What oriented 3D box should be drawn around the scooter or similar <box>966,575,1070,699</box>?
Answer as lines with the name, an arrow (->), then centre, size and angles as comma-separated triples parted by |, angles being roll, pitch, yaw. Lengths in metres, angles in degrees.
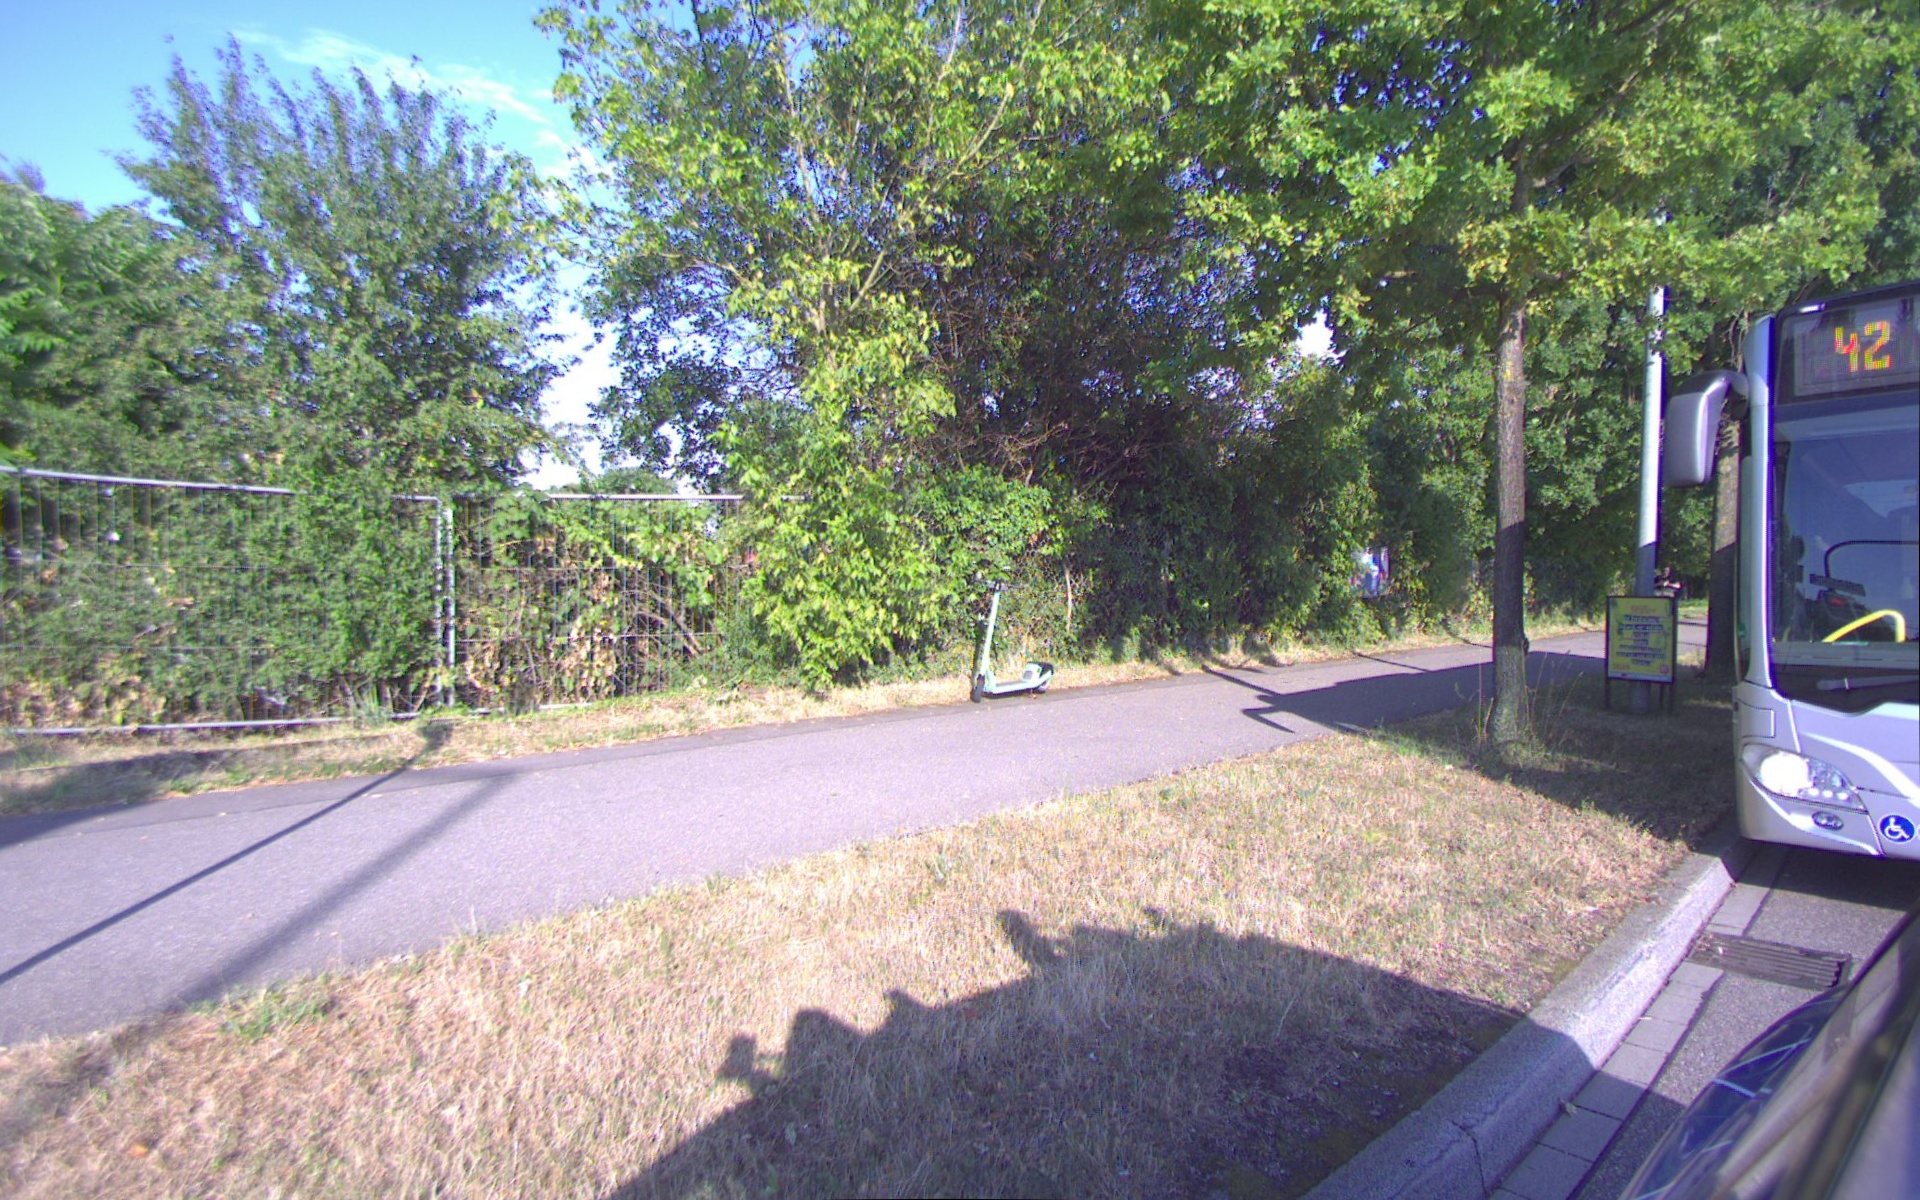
scooter or similar -> 0.573, 0.342, 9.796 | 1.076, 1.139, 0.249 | 0, 4, -41

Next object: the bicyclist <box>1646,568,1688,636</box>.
bicyclist -> 20.256, 0.039, 28.994 | 0.620, 1.850, 0.817 | 12, 8, 42

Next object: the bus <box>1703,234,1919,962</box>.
bus -> 8.594, -0.030, 7.864 | 11.524, 3.081, 2.591 | 0, 1, -44

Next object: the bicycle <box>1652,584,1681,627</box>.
bicycle -> 20.220, 0.157, 28.956 | 0.414, 1.172, 1.863 | 5, 3, 40
